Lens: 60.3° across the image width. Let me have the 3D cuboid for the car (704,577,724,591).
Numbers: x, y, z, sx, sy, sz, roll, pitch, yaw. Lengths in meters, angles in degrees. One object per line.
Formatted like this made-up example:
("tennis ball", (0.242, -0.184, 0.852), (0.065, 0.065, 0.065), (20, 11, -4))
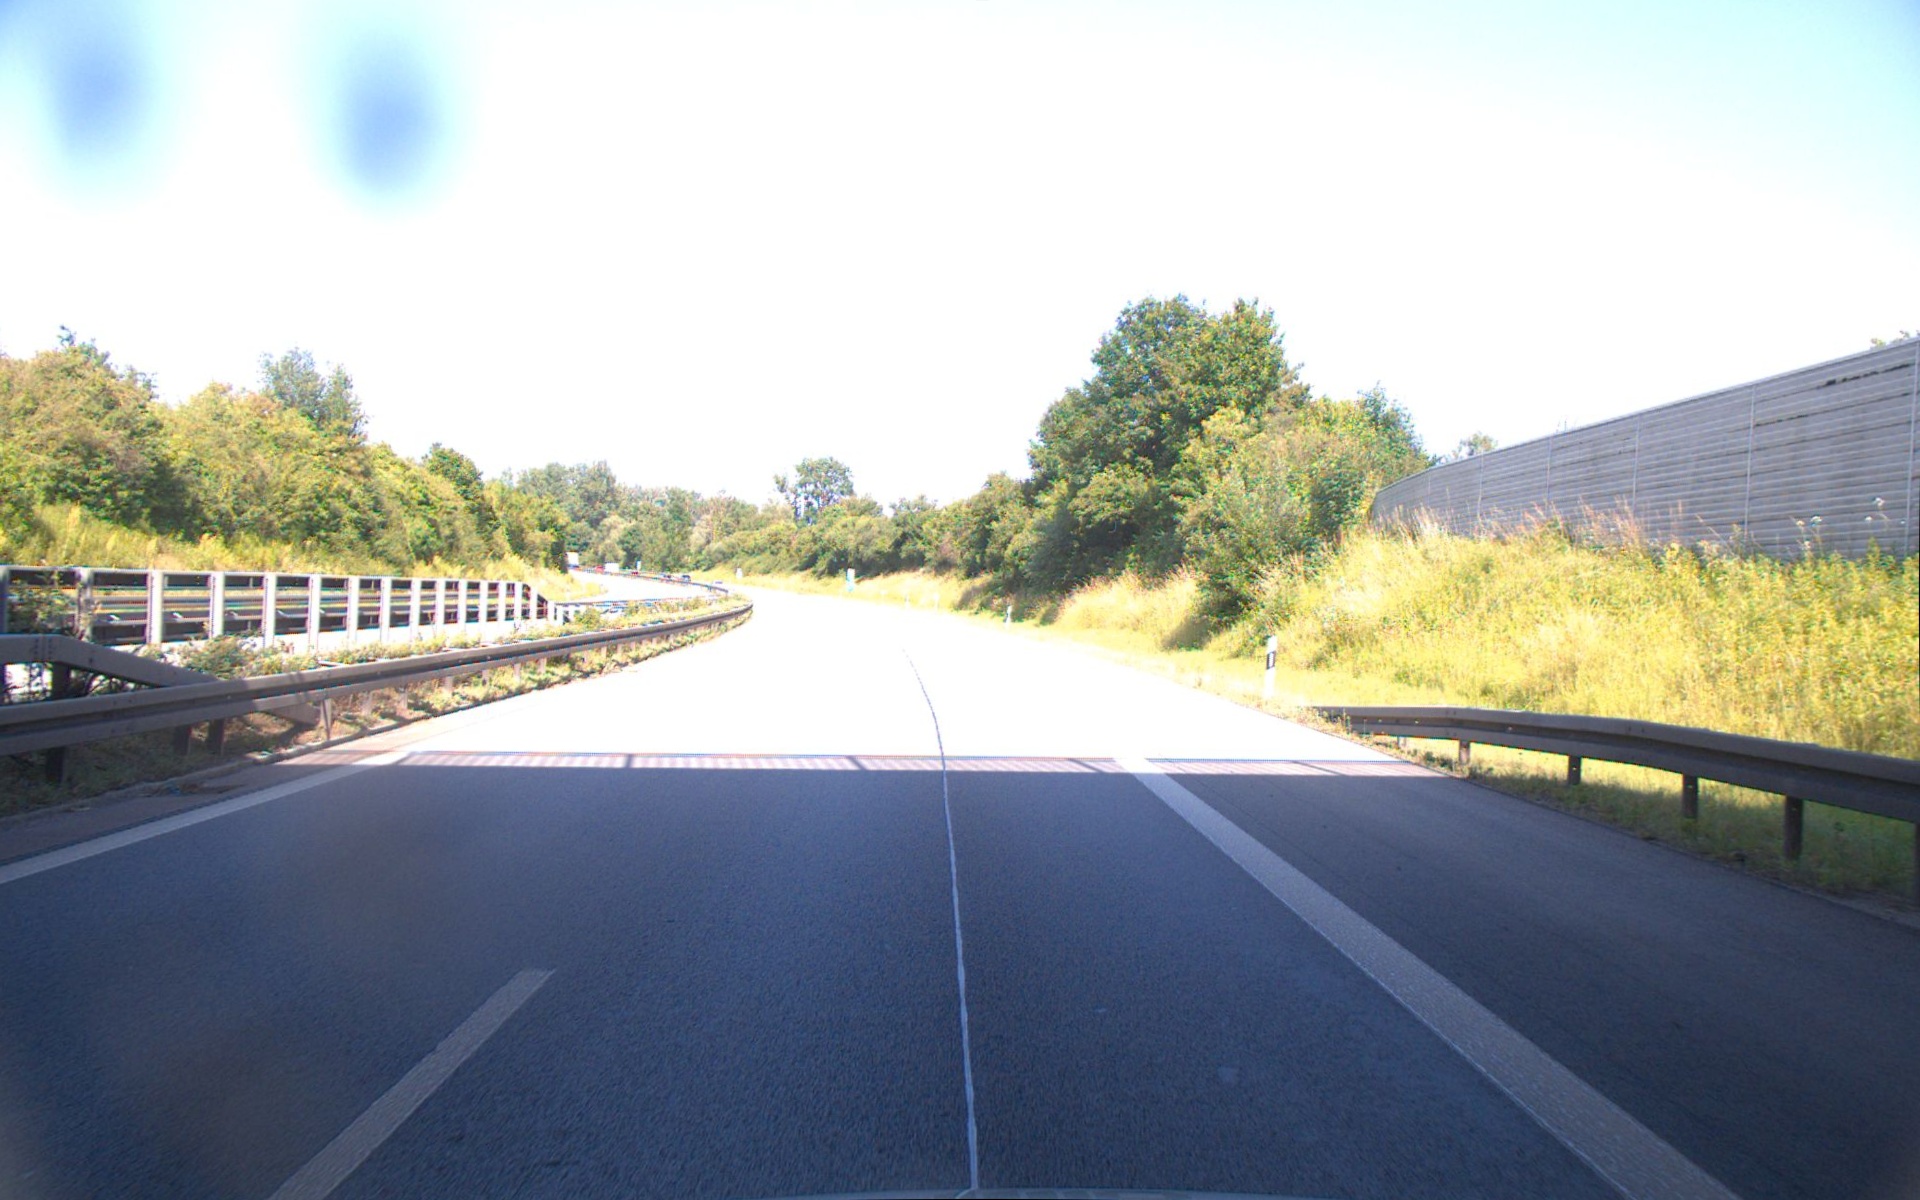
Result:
("car", (-31.698, -2.025, 213.233), (2.028, 1.653, 3.984), (2, -1, -15))
